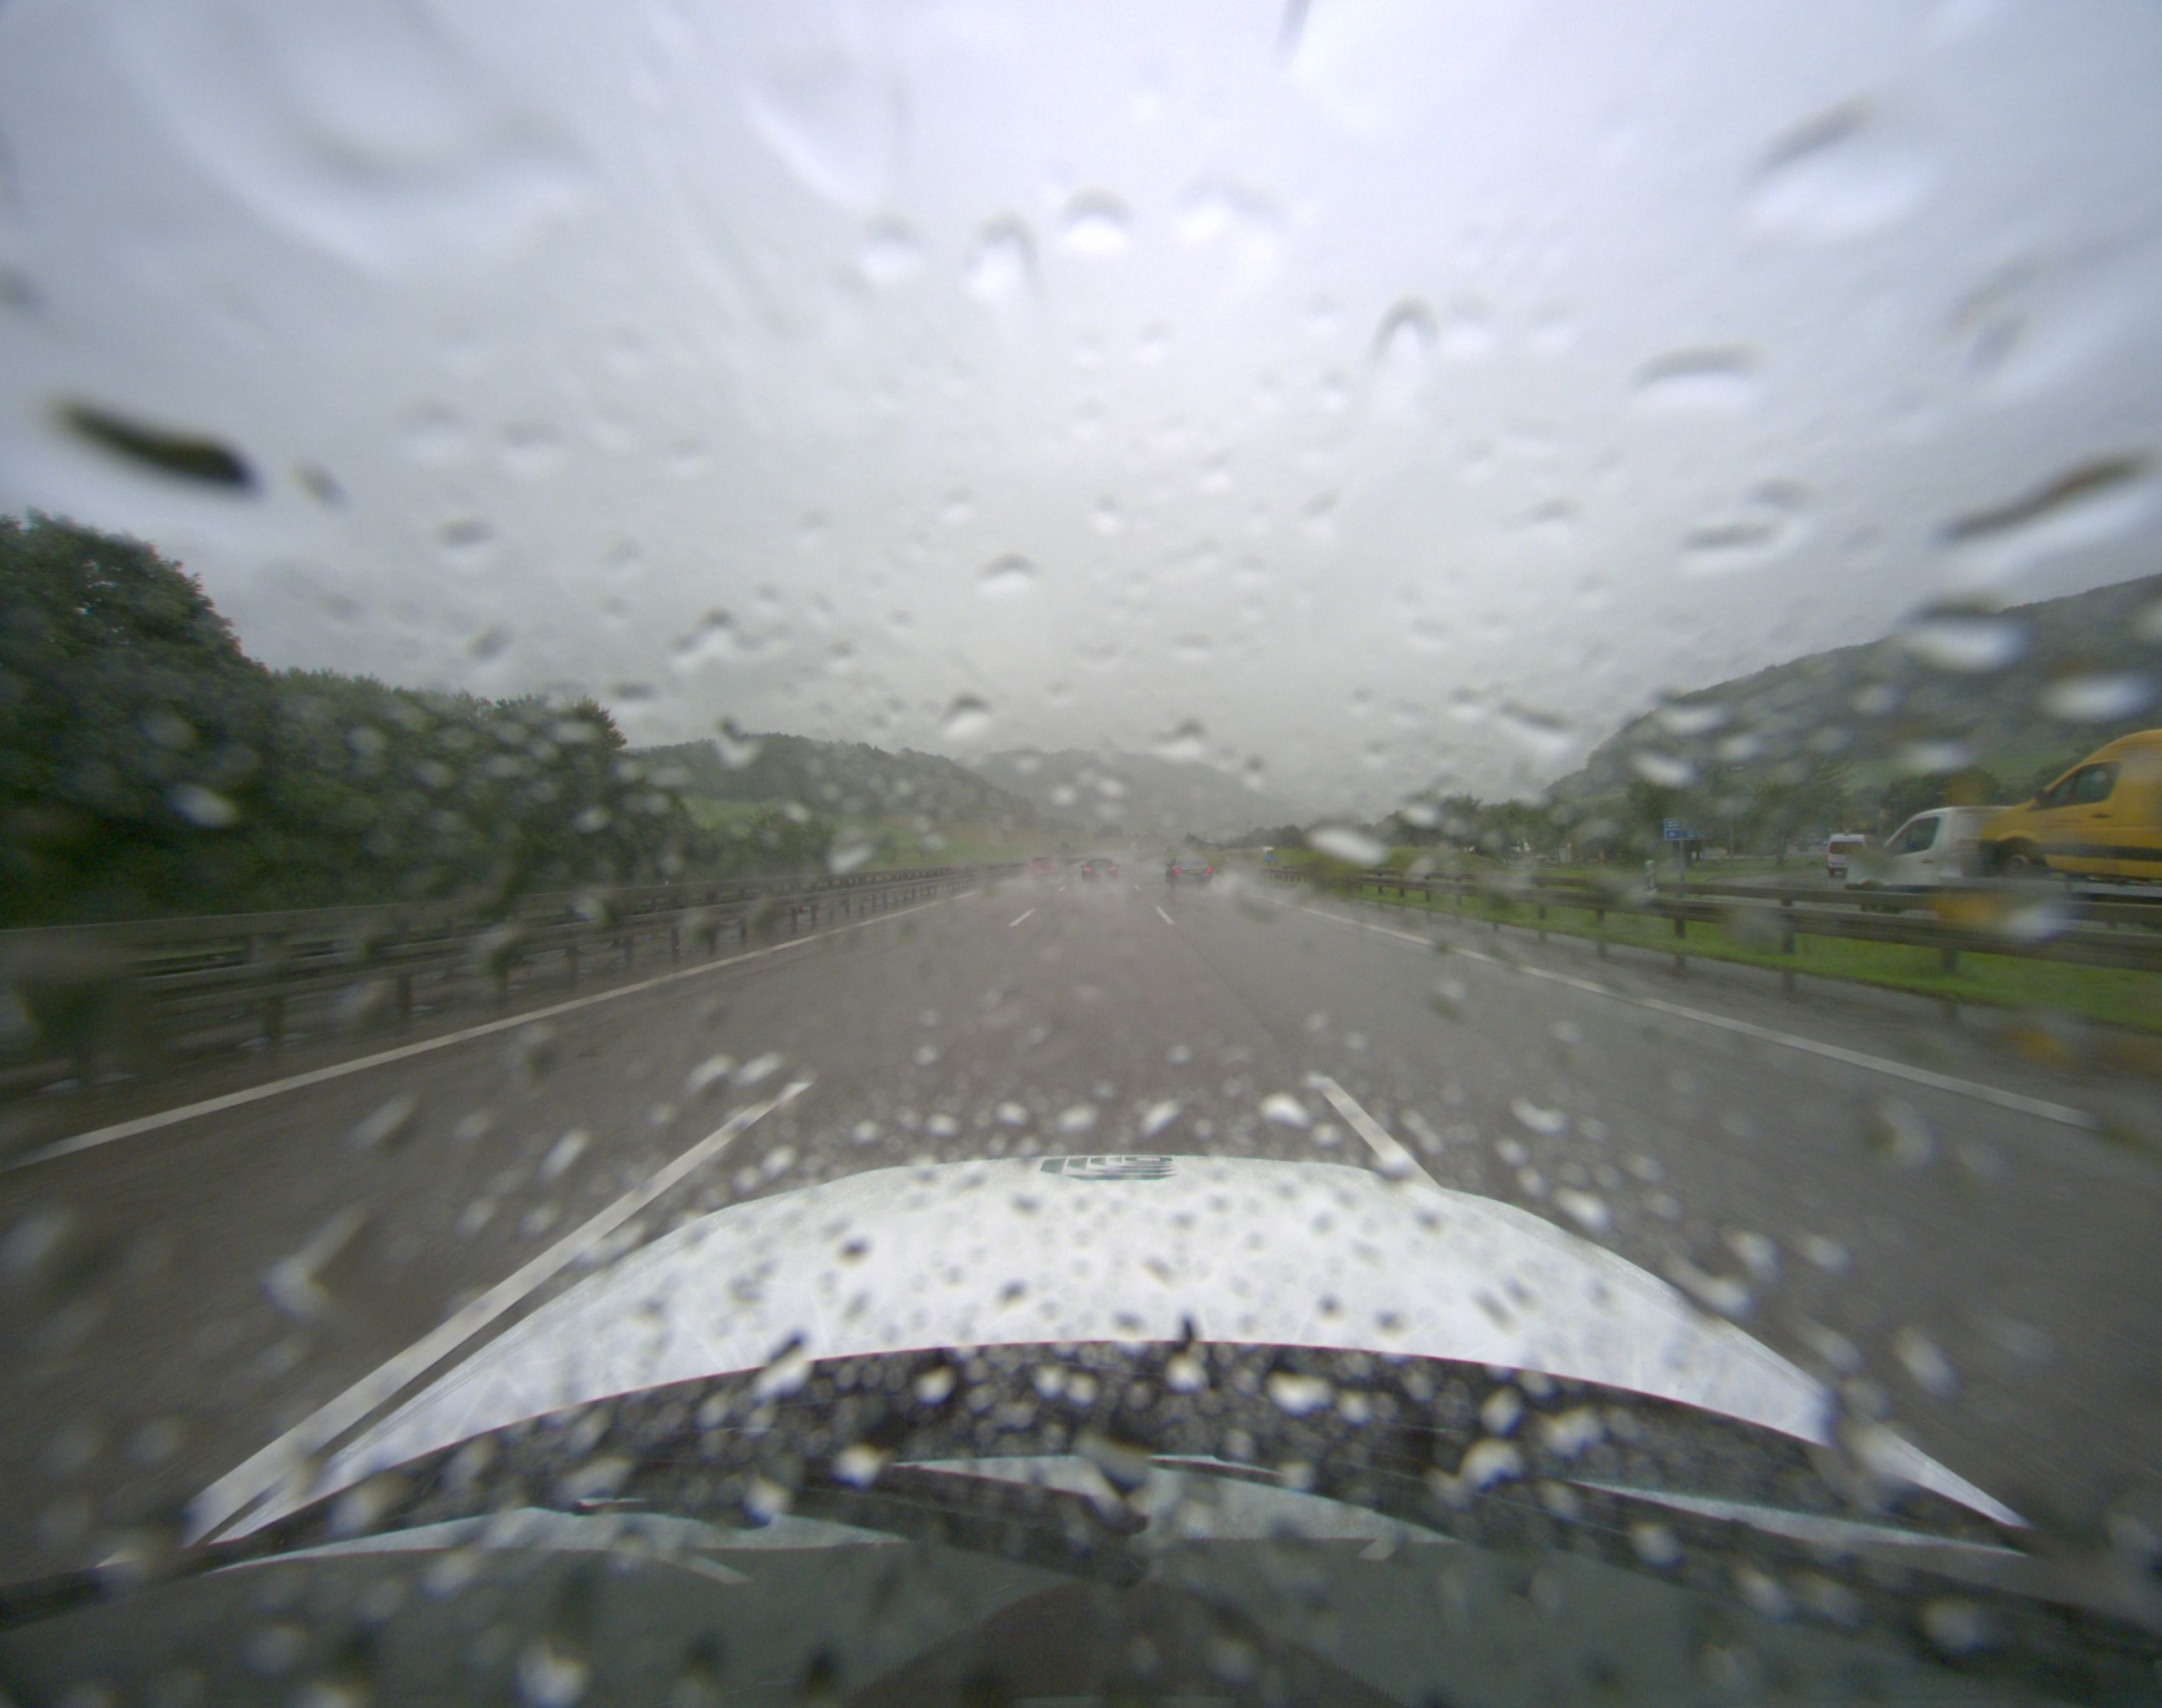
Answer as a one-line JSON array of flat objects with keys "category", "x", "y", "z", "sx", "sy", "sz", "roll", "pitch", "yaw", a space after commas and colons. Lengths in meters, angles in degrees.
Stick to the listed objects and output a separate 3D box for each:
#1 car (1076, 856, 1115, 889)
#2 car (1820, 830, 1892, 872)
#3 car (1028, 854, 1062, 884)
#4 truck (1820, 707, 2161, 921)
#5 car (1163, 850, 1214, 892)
[{"category": "car", "x": 0.766, "y": 0.914, "z": 41.120, "sx": 1.852, "sy": 1.589, "sz": 4.002, "roll": 0, "pitch": 0, "yaw": 2}, {"category": "car", "x": 50.011, "y": -0.171, "z": 52.485, "sx": 6.754, "sy": 2.582, "sz": 2.387, "roll": 0, "pitch": -1, "yaw": -38}, {"category": "car", "x": -2.273, "y": 0.968, "z": 52.915, "sx": 1.878, "sy": 1.816, "sz": 4.001, "roll": -1, "pitch": 0, "yaw": 1}, {"category": "truck", "x": 17.158, "y": -0.594, "z": 13.482, "sx": 2.281, "sy": 3.147, "sz": 8.873, "roll": 0, "pitch": 0, "yaw": 4}, {"category": "car", "x": 4.926, "y": 0.731, "z": 37.732, "sx": 1.964, "sy": 1.760, "sz": 4.002, "roll": -2, "pitch": 0, "yaw": 2}]
